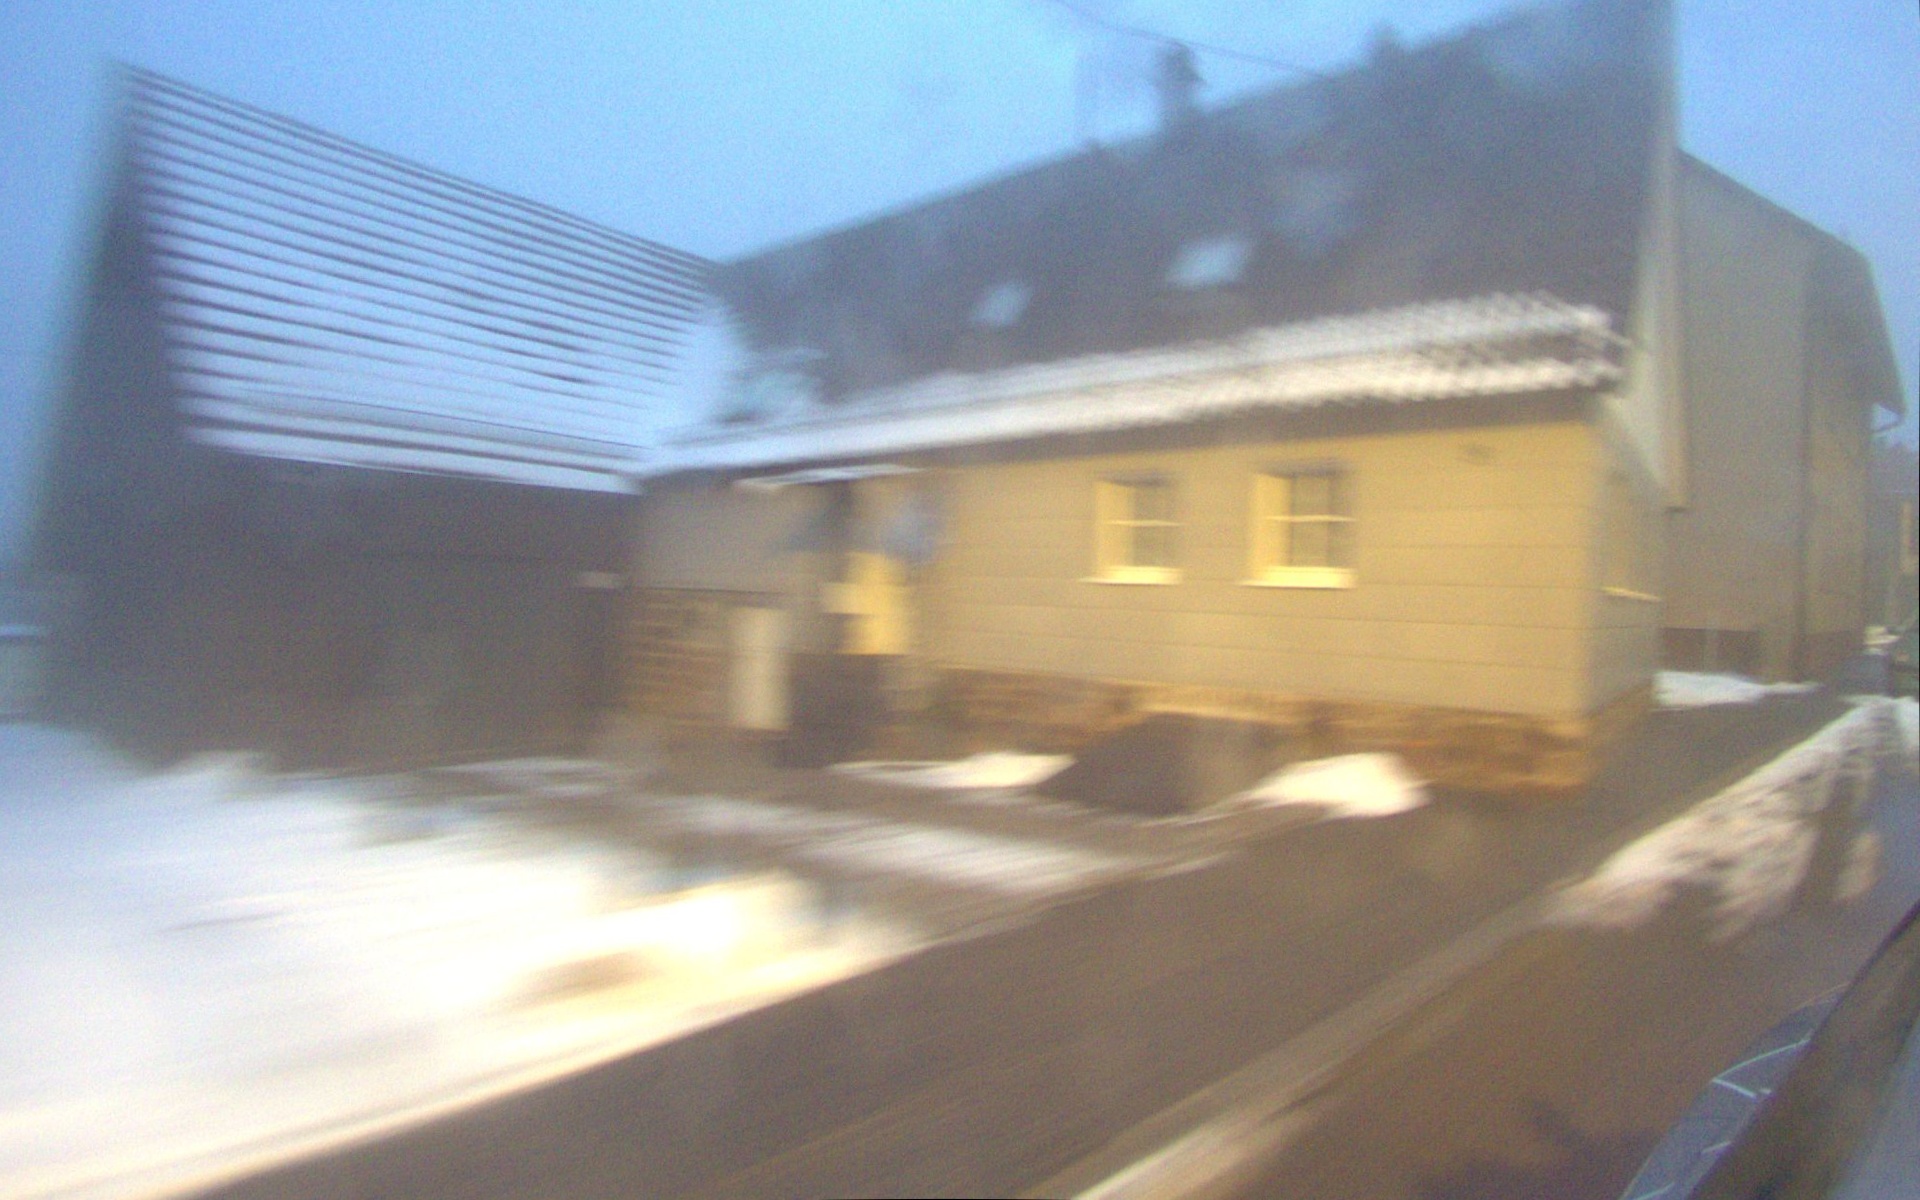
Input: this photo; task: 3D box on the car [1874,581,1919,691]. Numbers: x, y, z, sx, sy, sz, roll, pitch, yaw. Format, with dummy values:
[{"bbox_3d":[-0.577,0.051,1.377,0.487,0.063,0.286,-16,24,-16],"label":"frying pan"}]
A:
[{"bbox_3d":[15.150,0.477,14.939,4.206,1.499,1.914,-1,2,-40],"label":"car"}]
